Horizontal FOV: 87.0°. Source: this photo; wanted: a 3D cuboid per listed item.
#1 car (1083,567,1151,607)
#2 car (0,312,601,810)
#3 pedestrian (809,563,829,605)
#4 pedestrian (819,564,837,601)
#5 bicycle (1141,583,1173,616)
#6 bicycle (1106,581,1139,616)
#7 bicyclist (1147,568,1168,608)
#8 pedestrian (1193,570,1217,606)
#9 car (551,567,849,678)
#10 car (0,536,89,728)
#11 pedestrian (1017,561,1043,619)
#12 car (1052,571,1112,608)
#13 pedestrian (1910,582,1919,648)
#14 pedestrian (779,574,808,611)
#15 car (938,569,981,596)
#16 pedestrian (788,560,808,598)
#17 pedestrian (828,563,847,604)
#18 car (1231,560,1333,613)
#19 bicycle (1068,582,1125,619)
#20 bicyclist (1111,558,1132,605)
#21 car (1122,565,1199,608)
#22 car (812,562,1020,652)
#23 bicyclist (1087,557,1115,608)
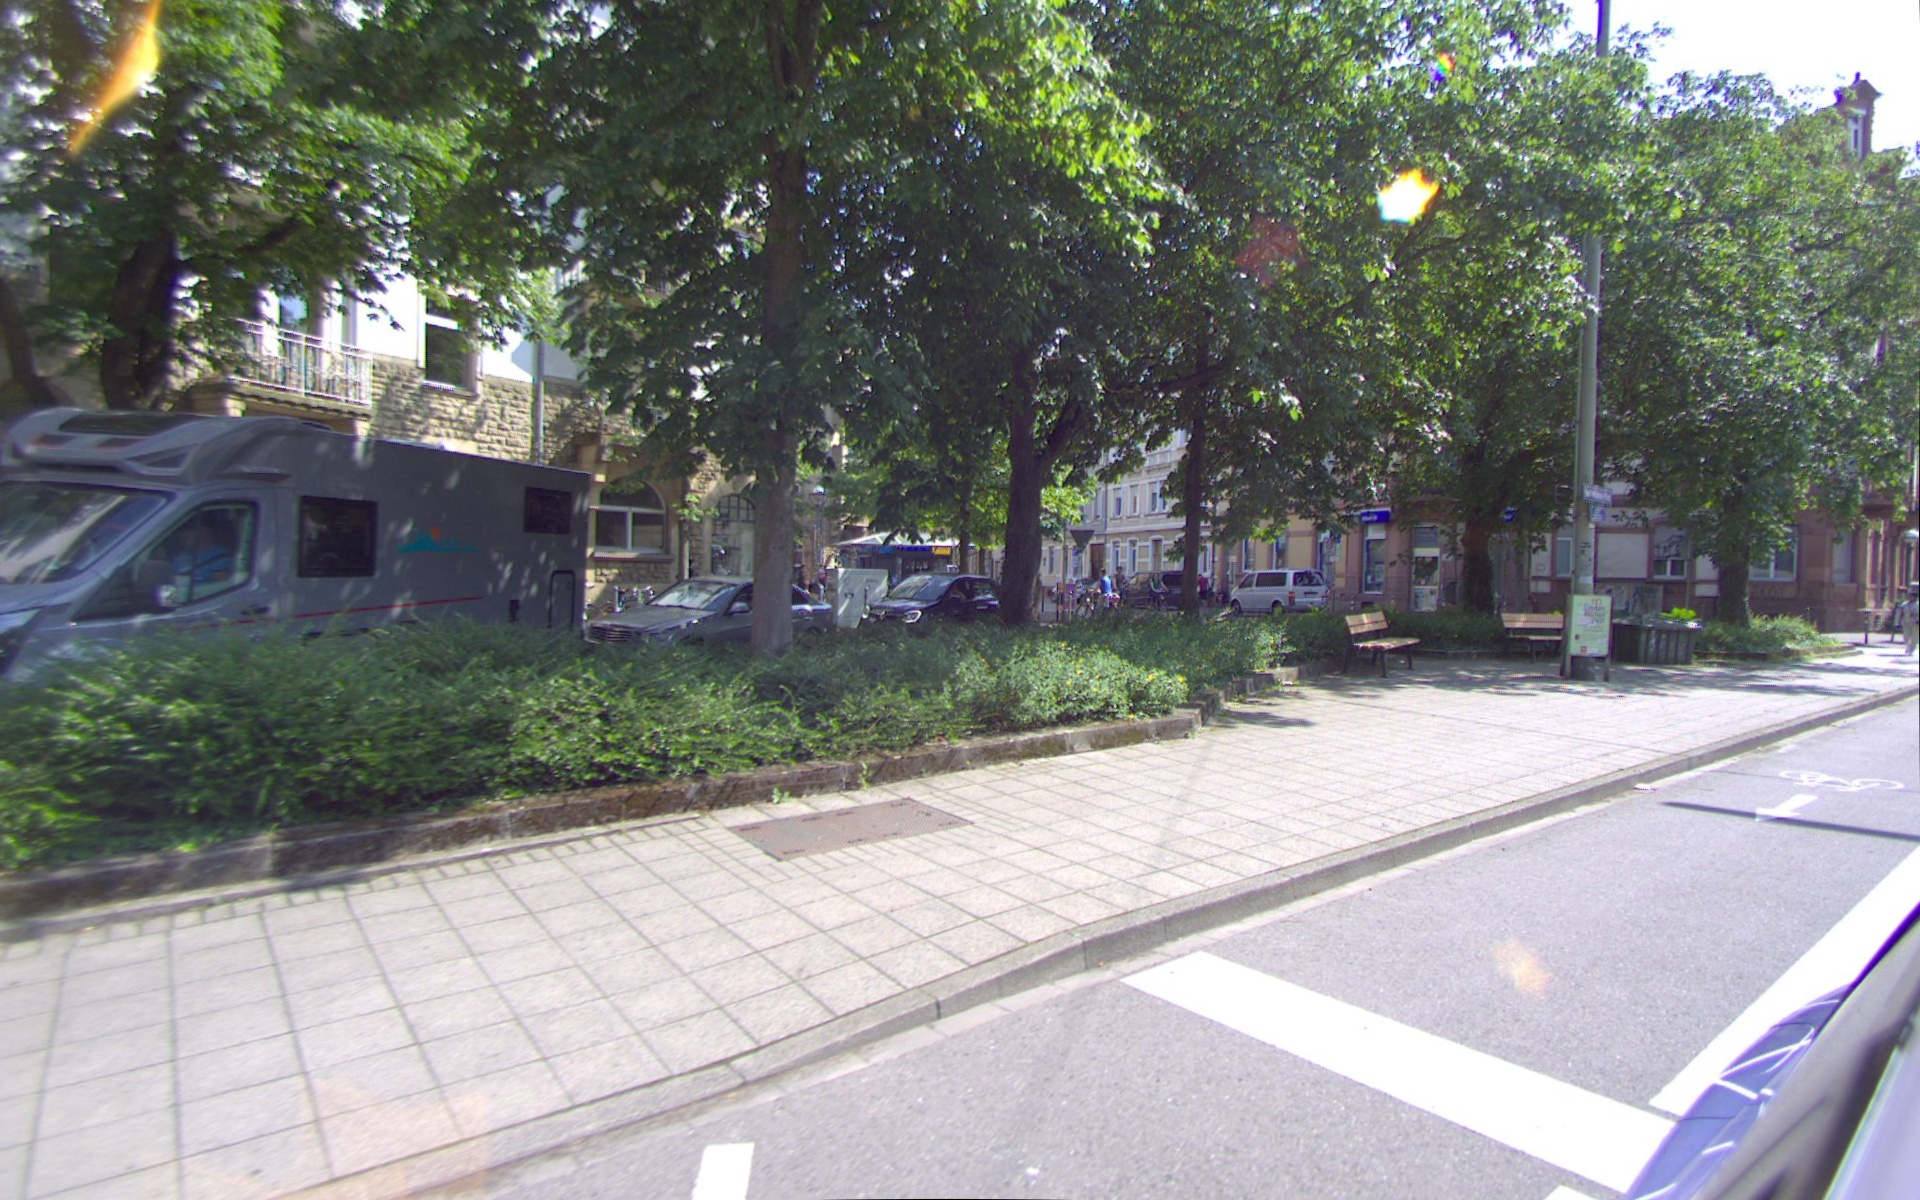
[{"bbox_3d":[8.540,-0.750,55.442,1.958,2.038,4.327,1,2,-16],"label":"car"},{"bbox_3d":[-6.041,-0.310,8.861,2.355,2.828,6.653,2,1,11],"label":"car"},{"bbox_3d":[-5.999,-0.704,43.041,0.668,1.761,0.848,1,1,-17],"label":"pedestrian"},{"bbox_3d":[-6.320,-0.852,48.459,0.668,1.761,0.848,1,1,-17],"label":"pedestrian"},{"bbox_3d":[6.934,-0.036,35.692,0.512,1.129,1.668,-1,0,-11],"label":"bicycle"},{"bbox_3d":[5.692,-0.061,35.538,0.512,1.209,1.856,-1,0,-13],"label":"bicycle"},{"bbox_3d":[6.947,-0.431,35.624,0.460,1.389,0.744,-1,0,-9],"label":"bicyclist"},{"bbox_3d":[12.156,-0.596,50.226,0.909,1.729,0.763,1,1,-12],"label":"pedestrian"},{"bbox_3d":[-3.717,0.242,15.304,1.821,1.386,4.440,2,2,29],"label":"car"},{"bbox_3d":[-8.900,0.297,7.113,1.700,1.574,4.104,-1,1,9],"label":"car"},{"bbox_3d":[2.105,-0.307,30.296,0.524,1.721,0.560,0,0,-41],"label":"pedestrian"},{"bbox_3d":[7.127,-0.662,59.782,1.958,2.038,4.327,1,2,-16],"label":"car"},{"bbox_3d":[24.631,0.382,25.667,0.524,1.675,0.706,0,0,-39],"label":"pedestrian"},{"bbox_3d":[-5.544,-0.261,33.717,0.828,1.214,0.685,1,1,-18],"label":"pedestrian"},{"bbox_3d":[-0.129,-1.480,82.567,1.958,2.038,5.611,-3,3,-16],"label":"car"},{"bbox_3d":[-7.660,-0.983,47.820,0.795,1.761,0.848,1,1,-17],"label":"pedestrian"},{"bbox_3d":[-5.346,-0.715,44.095,0.668,1.761,0.848,1,1,-17],"label":"pedestrian"},{"bbox_3d":[12.914,-0.592,40.870,1.799,2.011,4.327,0,2,-16],"label":"car"},{"bbox_3d":[3.861,0.010,28.721,0.515,1.018,1.683,-1,0,-40],"label":"bicycle"},{"bbox_3d":[5.679,-0.643,35.593,0.496,1.619,0.701,2,-1,-10],"label":"bicyclist"},{"bbox_3d":[9.983,-0.713,50.752,1.958,2.038,4.327,1,2,-16],"label":"car"},{"bbox_3d":[-0.741,0.075,19.583,1.837,1.519,4.130,2,2,36],"label":"car"},{"bbox_3d":[3.978,-0.478,28.577,0.474,1.422,0.633,0,0,-40],"label":"bicyclist"}]
